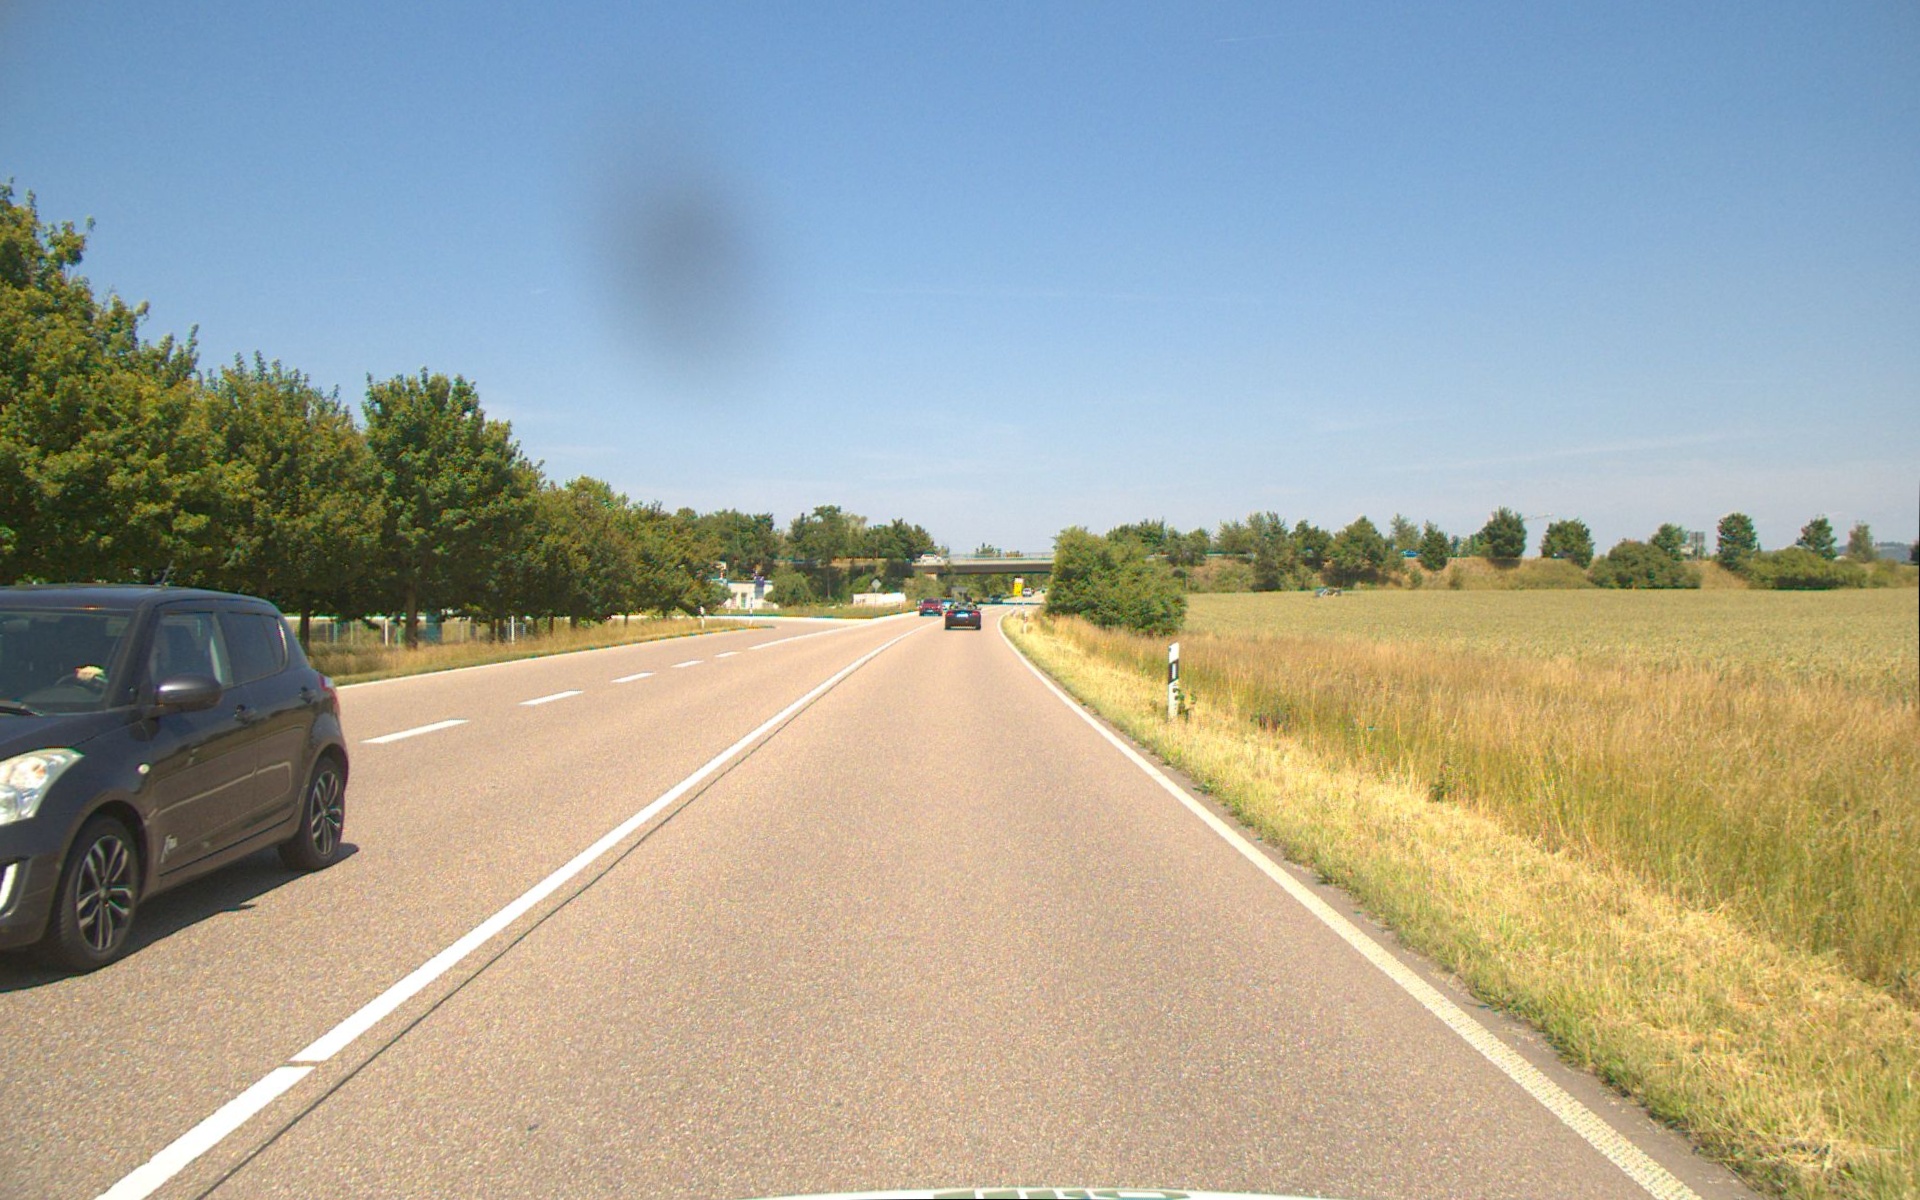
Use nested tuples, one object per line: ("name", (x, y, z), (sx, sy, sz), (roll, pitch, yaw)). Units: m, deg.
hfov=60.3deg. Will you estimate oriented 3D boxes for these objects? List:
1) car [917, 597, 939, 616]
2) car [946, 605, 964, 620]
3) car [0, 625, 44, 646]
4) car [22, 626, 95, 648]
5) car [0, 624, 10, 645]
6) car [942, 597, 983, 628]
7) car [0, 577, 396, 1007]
("car", (-2.563, 0.521, 134.188), (1.707, 1.436, 4.623), (1, 0, -1))
("car", (-0.452, 1.162, 161.013), (1.696, 1.415, 4.491), (1, 0, 0))
("car", (-65.333, 2.444, 113.434), (1.954, 1.418, 3.996), (-1, 0, 26))
("car", (-61.441, 2.496, 112.726), (1.954, 1.418, 3.996), (-1, 0, 26))
("car", (-68.398, 2.411, 114.642), (1.954, 1.418, 3.996), (-1, 0, 26))
("car", (0.092, 0.598, 79.800), (1.778, 1.466, 3.998), (1, 0, -3))
("car", (-4.131, 0.669, 7.803), (1.646, 1.525, 3.885), (0, 0, -1))
